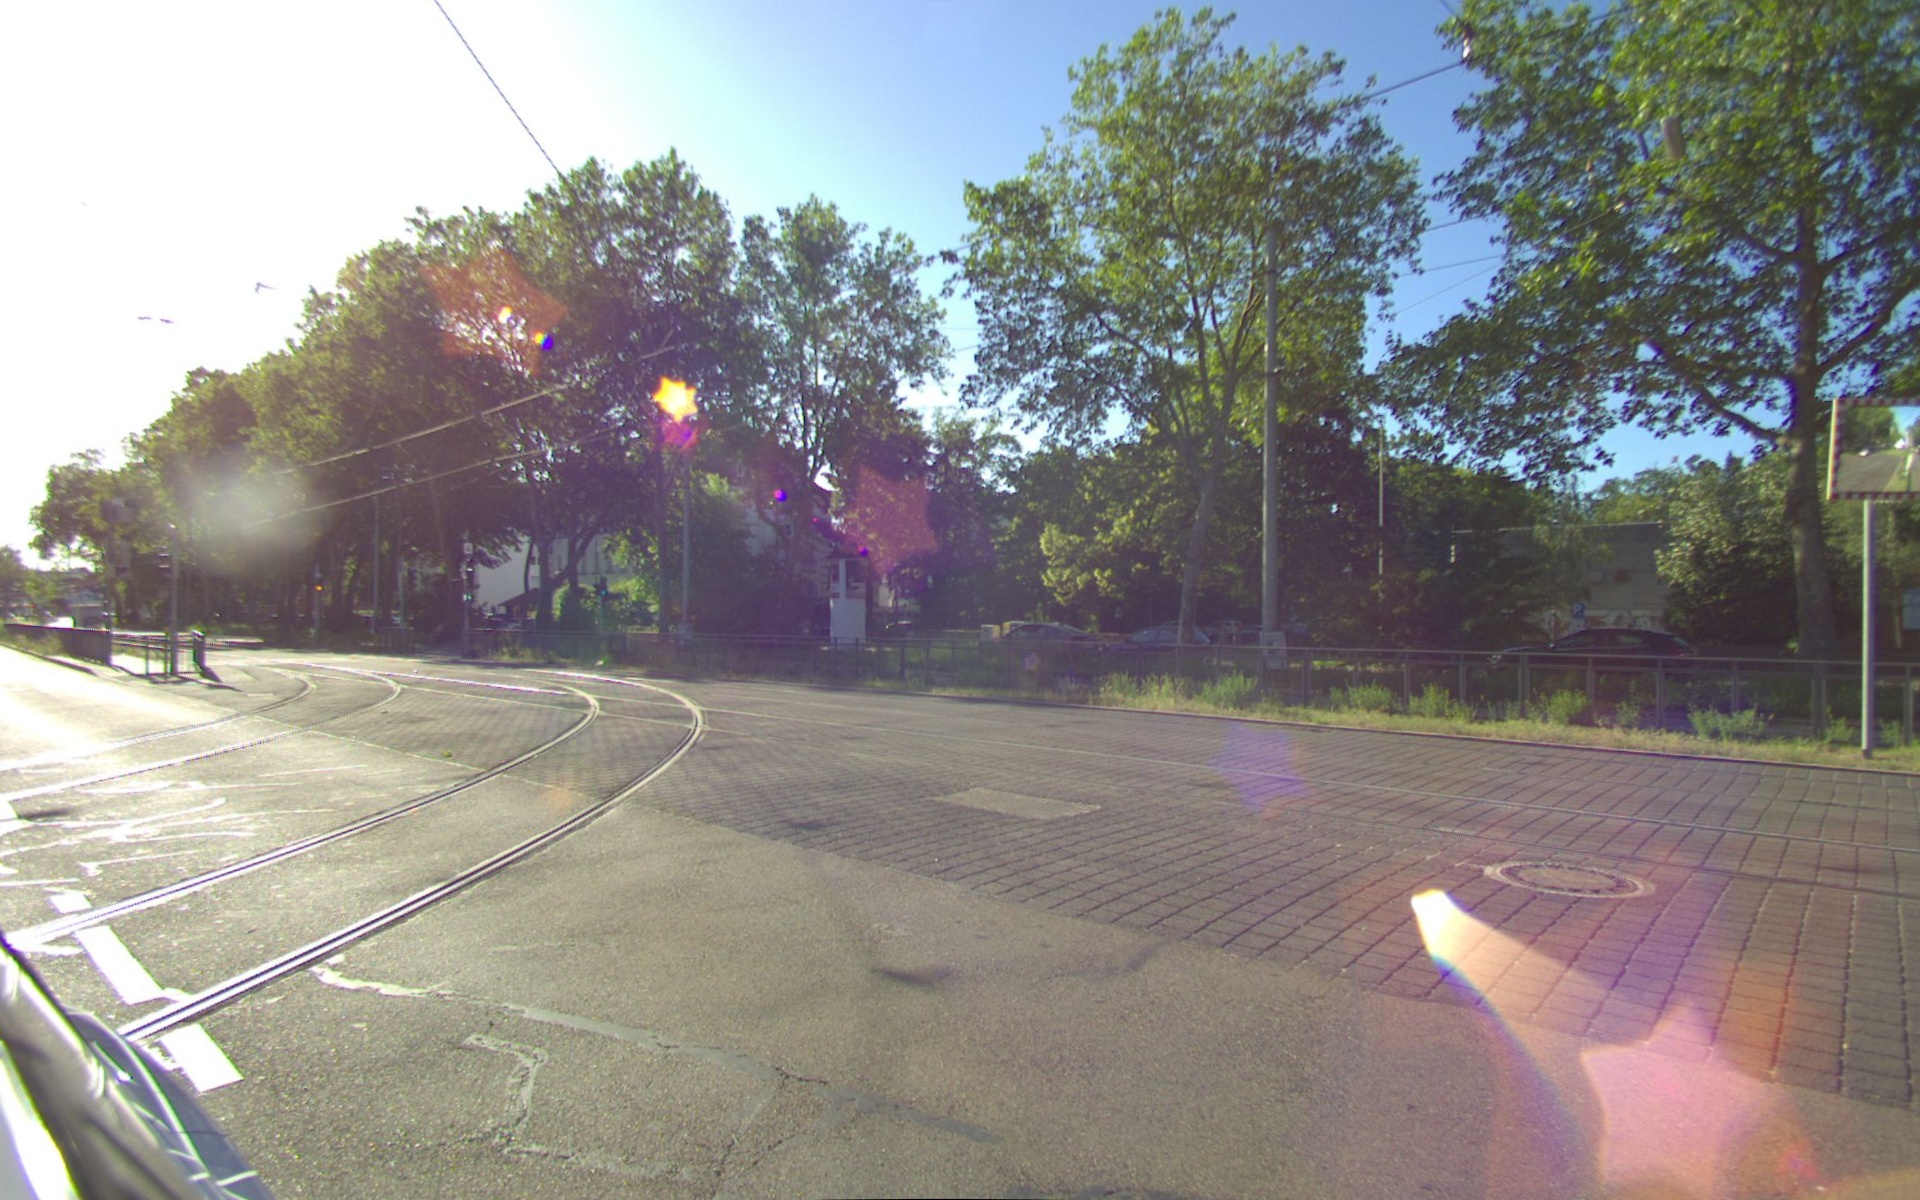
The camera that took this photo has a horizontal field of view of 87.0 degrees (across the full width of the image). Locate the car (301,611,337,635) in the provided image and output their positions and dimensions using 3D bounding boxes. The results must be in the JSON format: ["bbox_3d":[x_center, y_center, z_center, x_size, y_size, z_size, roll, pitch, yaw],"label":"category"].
[{"bbox_3d":[-51.500,1.870,81.330,1.721,1.806,3.743,1,-3,-44],"label":"car"}]

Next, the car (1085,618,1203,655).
[{"bbox_3d":[5.783,1.142,31.985,3.405,1.037,1.464,-2,0,43],"label":"car"}]

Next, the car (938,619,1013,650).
[{"bbox_3d":[0.712,1.637,48.529,1.610,1.406,3.486,-2,0,-44],"label":"car"}]

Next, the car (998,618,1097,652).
[{"bbox_3d":[2.975,1.176,34.680,3.129,1.057,1.483,-2,0,44],"label":"car"}]

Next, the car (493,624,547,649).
[{"bbox_3d":[-27.762,2.271,63.813,3.755,1.482,1.700,-2,0,41],"label":"car"}]

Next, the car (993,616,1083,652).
[{"bbox_3d":[3.491,1.512,45.527,3.741,1.482,1.722,-2,0,43],"label":"car"}]
